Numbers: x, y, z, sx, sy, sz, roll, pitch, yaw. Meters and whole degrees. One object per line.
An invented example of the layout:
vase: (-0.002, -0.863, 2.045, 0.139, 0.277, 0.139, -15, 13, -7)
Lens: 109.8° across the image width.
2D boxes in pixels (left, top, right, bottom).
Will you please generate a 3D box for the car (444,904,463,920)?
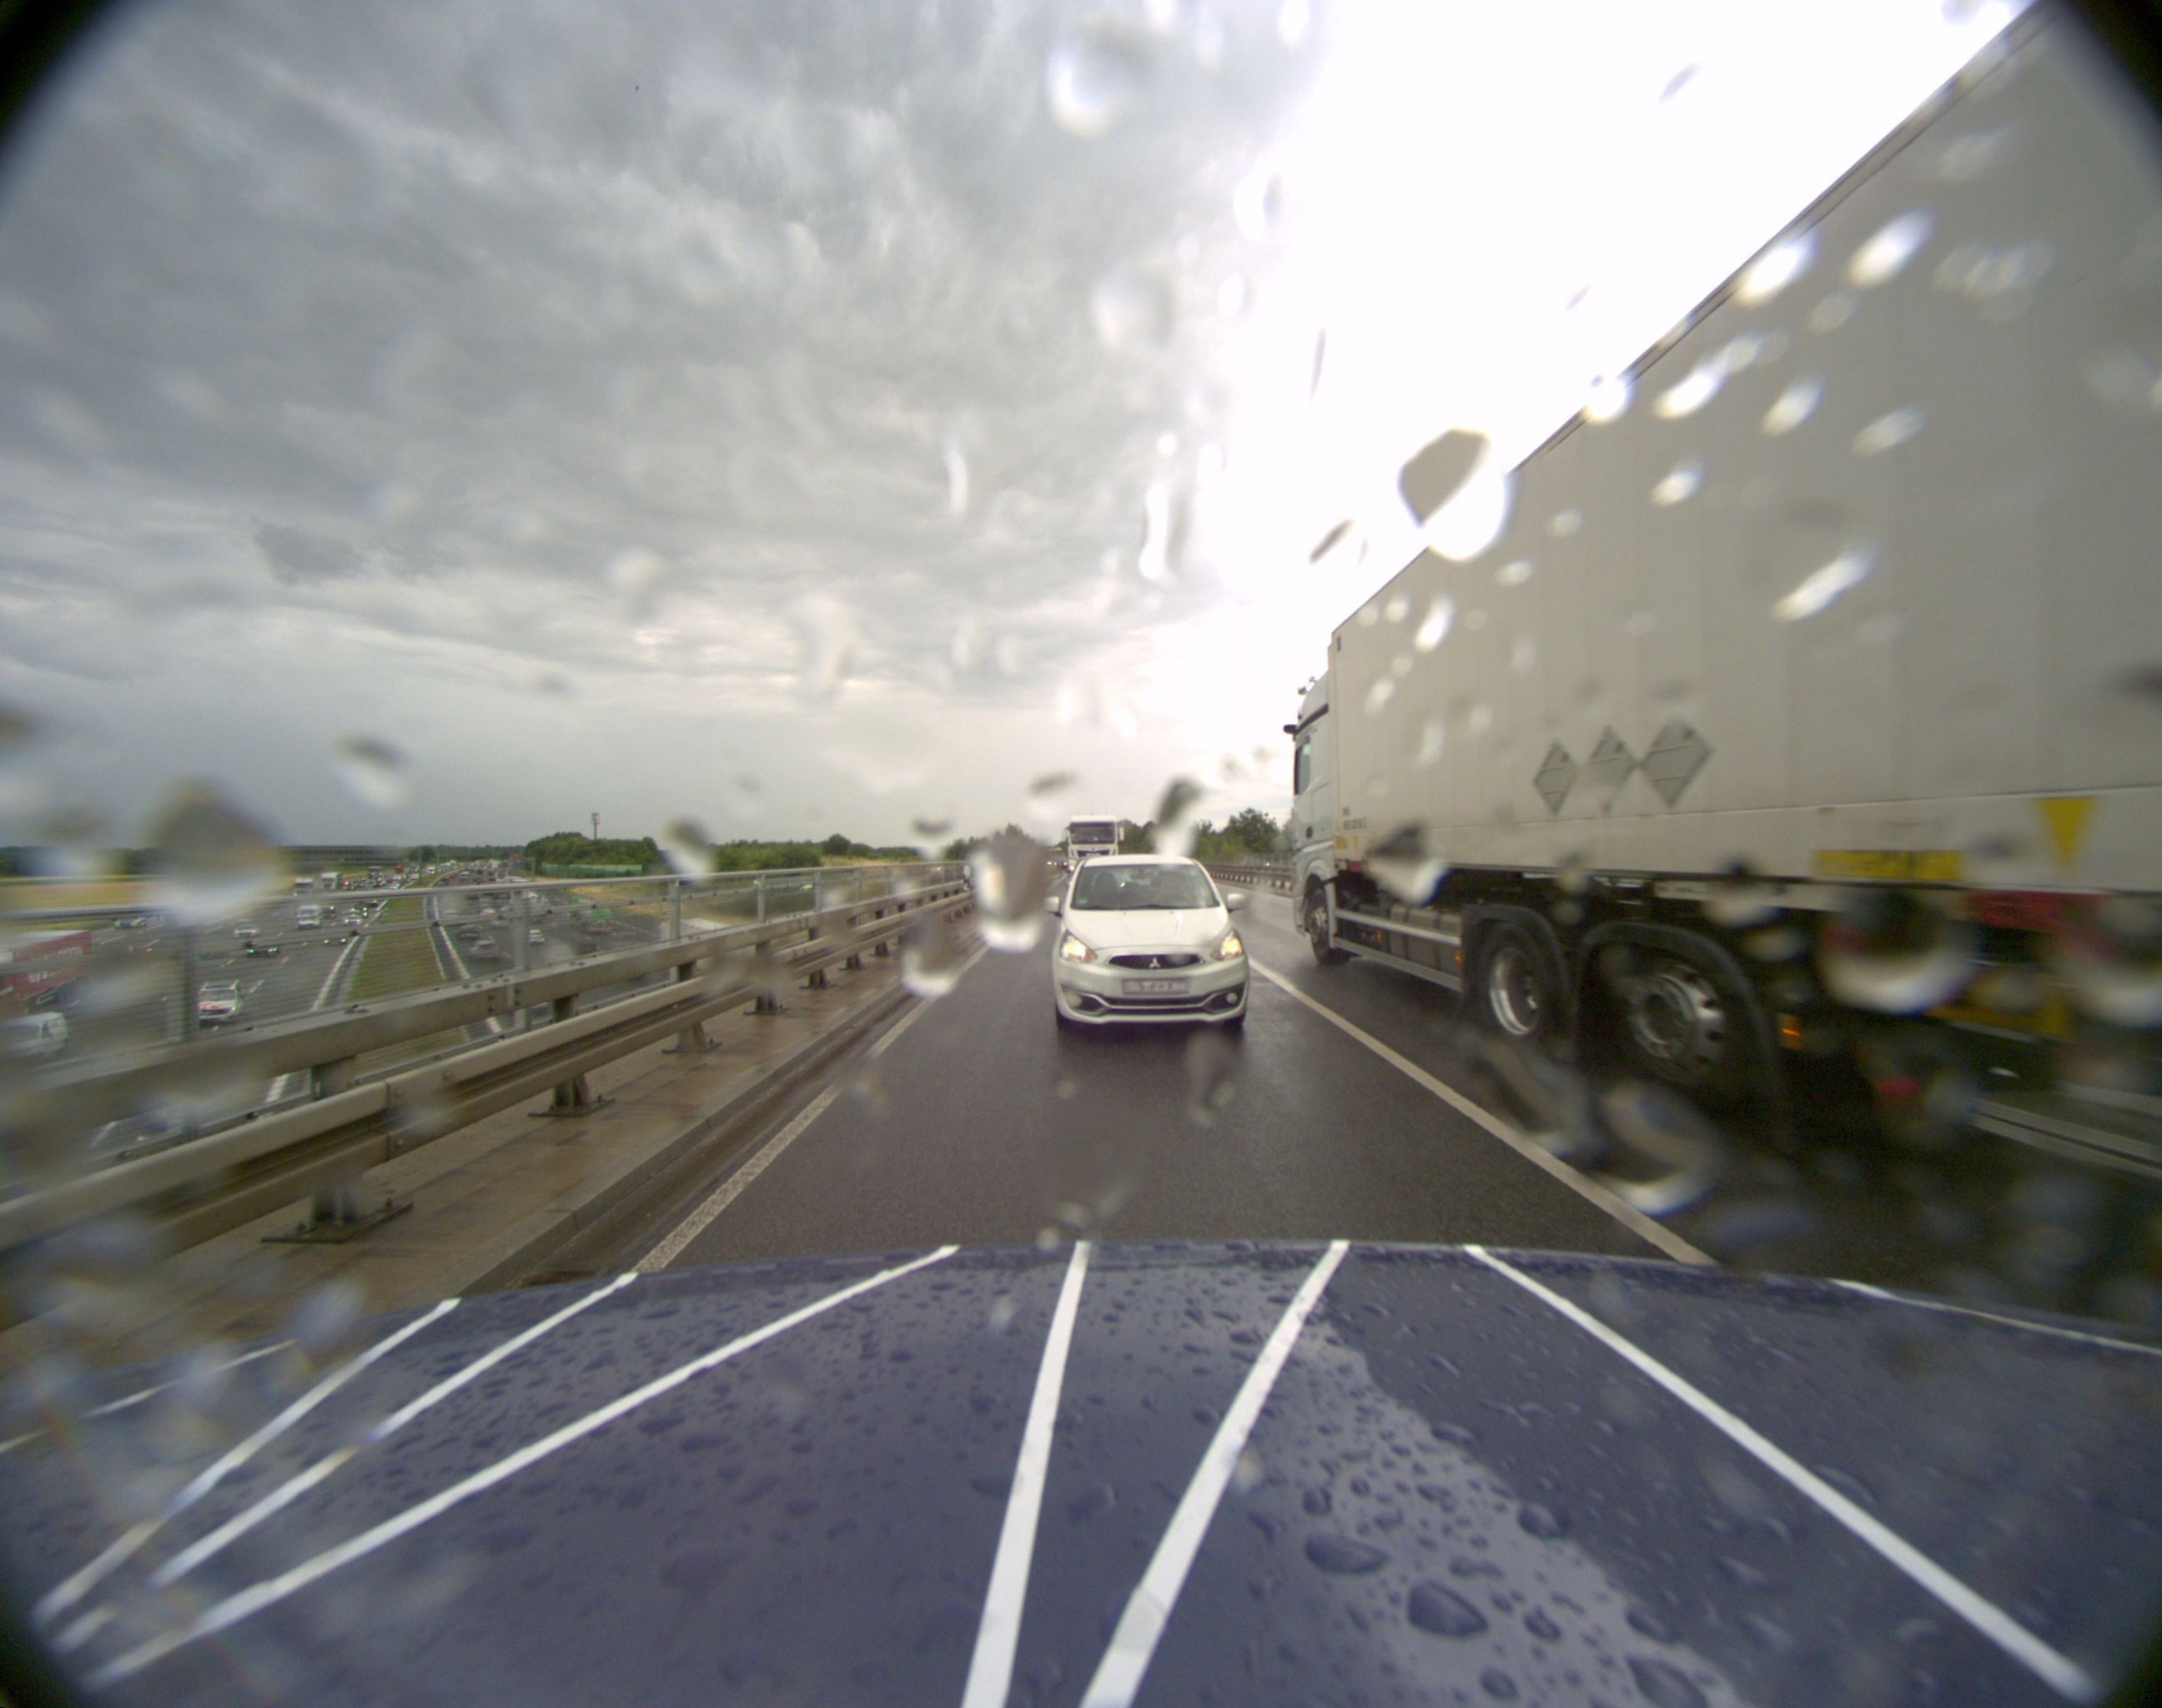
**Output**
car: (-85.927, 7.923, 104.037, 1.860, 1.764, 4.711, -3, 1, -40)

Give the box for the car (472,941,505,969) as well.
car: (-48.758, 8.253, 62.458, 1.860, 1.659, 4.711, -3, 1, -40)

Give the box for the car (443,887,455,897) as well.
car: (-135.004, 8.090, 162.254, 1.860, 1.764, 4.711, -3, 1, -40)

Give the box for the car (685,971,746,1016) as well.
car: (-20.626, 7.798, 42.798, 1.860, 1.659, 4.711, -3, 1, -40)

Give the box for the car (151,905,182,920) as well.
car: (-122.884, 7.858, 102.132, 1.860, 1.659, 4.711, -3, 1, -40)

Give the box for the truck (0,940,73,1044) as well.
truck: (-59.094, 7.468, 41.515, 2.691, 4.600, 9.726, -3, 1, -41)

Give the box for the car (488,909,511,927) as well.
car: (-69.659, 7.601, 91.057, 1.860, 1.764, 4.711, -3, 1, -40)

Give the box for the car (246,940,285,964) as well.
car: (-73.994, 8.861, 68.983, 1.818, 1.659, 4.711, -3, 1, -41)

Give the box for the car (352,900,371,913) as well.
car: (-111.336, 8.096, 117.582, 1.860, 1.659, 4.711, -3, 1, -40)

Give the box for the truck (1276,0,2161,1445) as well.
truck: (4.099, -0.566, 5.799, 2.689, 3.994, 10.054, -2, 1, 1)

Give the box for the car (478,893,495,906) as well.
car: (-96.904, 7.395, 123.867, 1.860, 1.764, 4.711, -3, 1, -40)

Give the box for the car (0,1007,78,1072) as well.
car: (-46.230, 8.112, 33.272, 1.818, 1.873, 4.711, -3, 1, -42)

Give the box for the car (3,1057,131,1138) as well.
car: (-36.488, 8.686, 27.498, 1.818, 1.428, 4.711, -3, 1, -42)

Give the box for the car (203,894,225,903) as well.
car: (-147.931, 7.578, 129.681, 1.818, 1.428, 4.711, -3, 1, -42)

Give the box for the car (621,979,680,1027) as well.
car: (-23.223, 7.944, 40.910, 1.860, 1.659, 4.711, -3, 1, -40)

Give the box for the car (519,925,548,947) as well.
car: (-54.448, 8.153, 75.566, 1.860, 1.659, 4.711, -3, 1, -40)

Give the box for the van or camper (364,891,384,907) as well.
van or camper: (-125.033, 7.991, 134.404, 2.063, 2.436, 7.310, -3, 1, -40)

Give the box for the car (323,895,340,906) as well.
car: (-139.907, 8.650, 141.905, 1.860, 1.659, 4.711, -3, 1, -40)

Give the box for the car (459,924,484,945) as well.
car: (-63.362, 8.304, 78.959, 1.860, 1.659, 4.711, -3, 1, -40)

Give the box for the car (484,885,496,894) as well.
car: (-130.199, 7.865, 167.299, 1.860, 1.764, 4.711, -3, 1, -40)

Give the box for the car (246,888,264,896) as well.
car: (-161.098, 7.415, 148.267, 1.818, 1.428, 4.711, -3, 1, -42)

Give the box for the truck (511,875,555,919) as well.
truck: (-75.907, 5.729, 105.113, 3.302, 5.411, 15.587, -3, 1, -41)

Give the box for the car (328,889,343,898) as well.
car: (-157.409, 8.308, 160.501, 1.860, 1.659, 4.711, -3, 1, -40)

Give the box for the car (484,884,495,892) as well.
car: (-142.329, 8.103, 182.773, 1.860, 1.764, 4.711, -3, 1, -40)

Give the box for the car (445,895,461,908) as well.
car: (-99.490, 7.495, 120.358, 1.860, 1.764, 4.711, -3, 1, -40)

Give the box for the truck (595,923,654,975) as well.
truck: (-35.000, 7.115, 58.099, 2.216, 2.949, 9.283, -3, 1, -40)

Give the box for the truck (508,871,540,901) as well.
truck: (-107.575, 6.001, 146.561, 3.499, 5.322, 15.587, -3, 1, -41)

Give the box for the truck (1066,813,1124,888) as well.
truck: (0.608, -0.370, 40.541, 2.631, 3.537, 8.473, -2, 3, -1)

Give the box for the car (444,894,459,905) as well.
car: (-108.291, 7.802, 130.669, 1.860, 1.764, 4.711, -3, 1, -40)

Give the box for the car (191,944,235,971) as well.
car: (-75.478, 8.969, 66.097, 1.818, 1.659, 4.711, -3, 1, -41)

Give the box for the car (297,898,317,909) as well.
car: (-131.652, 8.398, 129.324, 1.860, 1.659, 4.711, -3, 1, -40)

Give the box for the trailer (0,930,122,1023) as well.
trailer: (-65.571, 7.602, 48.976, 2.691, 4.602, 9.882, -3, 1, -41)

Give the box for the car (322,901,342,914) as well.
car: (-116.495, 8.267, 118.148, 1.818, 1.659, 4.711, -3, 1, -41)

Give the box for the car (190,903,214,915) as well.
car: (-139.682, 8.716, 120.728, 1.818, 1.428, 4.711, -3, 1, -42)

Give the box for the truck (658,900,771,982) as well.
truck: (-27.417, 6.070, 56.105, 3.610, 4.511, 15.587, -3, 1, -40)

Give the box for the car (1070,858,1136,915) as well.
car: (0.587, 0.857, 21.849, 1.675, 1.367, 4.128, -2, 1, 0)

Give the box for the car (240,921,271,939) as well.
car: (-93.919, 8.612, 86.496, 1.818, 1.659, 4.711, -3, 1, -41)

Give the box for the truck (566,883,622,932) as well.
truck: (-59.269, 6.279, 92.206, 3.302, 5.135, 15.587, -3, 1, -41)

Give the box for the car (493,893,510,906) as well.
car: (-91.006, 7.154, 119.288, 1.860, 1.764, 4.711, -3, 1, -40)

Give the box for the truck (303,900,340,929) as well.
truck: (-100.091, 7.885, 100.261, 2.601, 3.161, 8.373, -3, 1, -40)

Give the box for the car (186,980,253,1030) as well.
car: (-47.627, 8.316, 42.107, 1.818, 1.836, 4.711, -3, 1, -42)

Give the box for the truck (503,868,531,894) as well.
truck: (-123.320, 5.851, 165.978, 3.499, 5.322, 15.587, -3, 1, -41)

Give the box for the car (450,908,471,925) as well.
car: (-77.736, 7.813, 95.115, 1.860, 1.659, 4.711, -3, 1, -40)

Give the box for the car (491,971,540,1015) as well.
car: (-32.411, 7.885, 43.513, 1.860, 1.659, 4.711, -3, 1, -40)

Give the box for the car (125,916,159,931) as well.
car: (-115.012, 8.535, 93.148, 1.818, 1.428, 4.711, -3, 1, -42)

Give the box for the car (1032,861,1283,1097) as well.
car: (0.537, 0.882, 7.303, 1.675, 1.476, 4.128, -2, 1, 0)

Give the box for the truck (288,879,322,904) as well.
truck: (-161.582, 7.717, 158.347, 2.799, 4.872, 12.723, -3, 1, -37)

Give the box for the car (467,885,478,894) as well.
car: (-139.042, 8.035, 173.631, 1.860, 1.764, 4.711, -3, 1, -40)

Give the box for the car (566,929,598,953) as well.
car: (-45.956, 8.011, 69.917, 1.860, 1.659, 4.711, -3, 1, -40)

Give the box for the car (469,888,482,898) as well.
car: (-120.364, 7.715, 150.965, 1.860, 1.764, 4.711, -3, 1, -40)

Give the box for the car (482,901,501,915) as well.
car: (-85.842, 7.837, 110.662, 1.860, 1.764, 4.711, -3, 1, -40)

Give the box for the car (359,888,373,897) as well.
car: (-158.565, 8.489, 168.544, 1.860, 1.659, 4.711, -3, 1, -40)

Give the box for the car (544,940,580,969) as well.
car: (-41.352, 7.951, 60.489, 1.860, 1.659, 4.711, -3, 1, -40)
